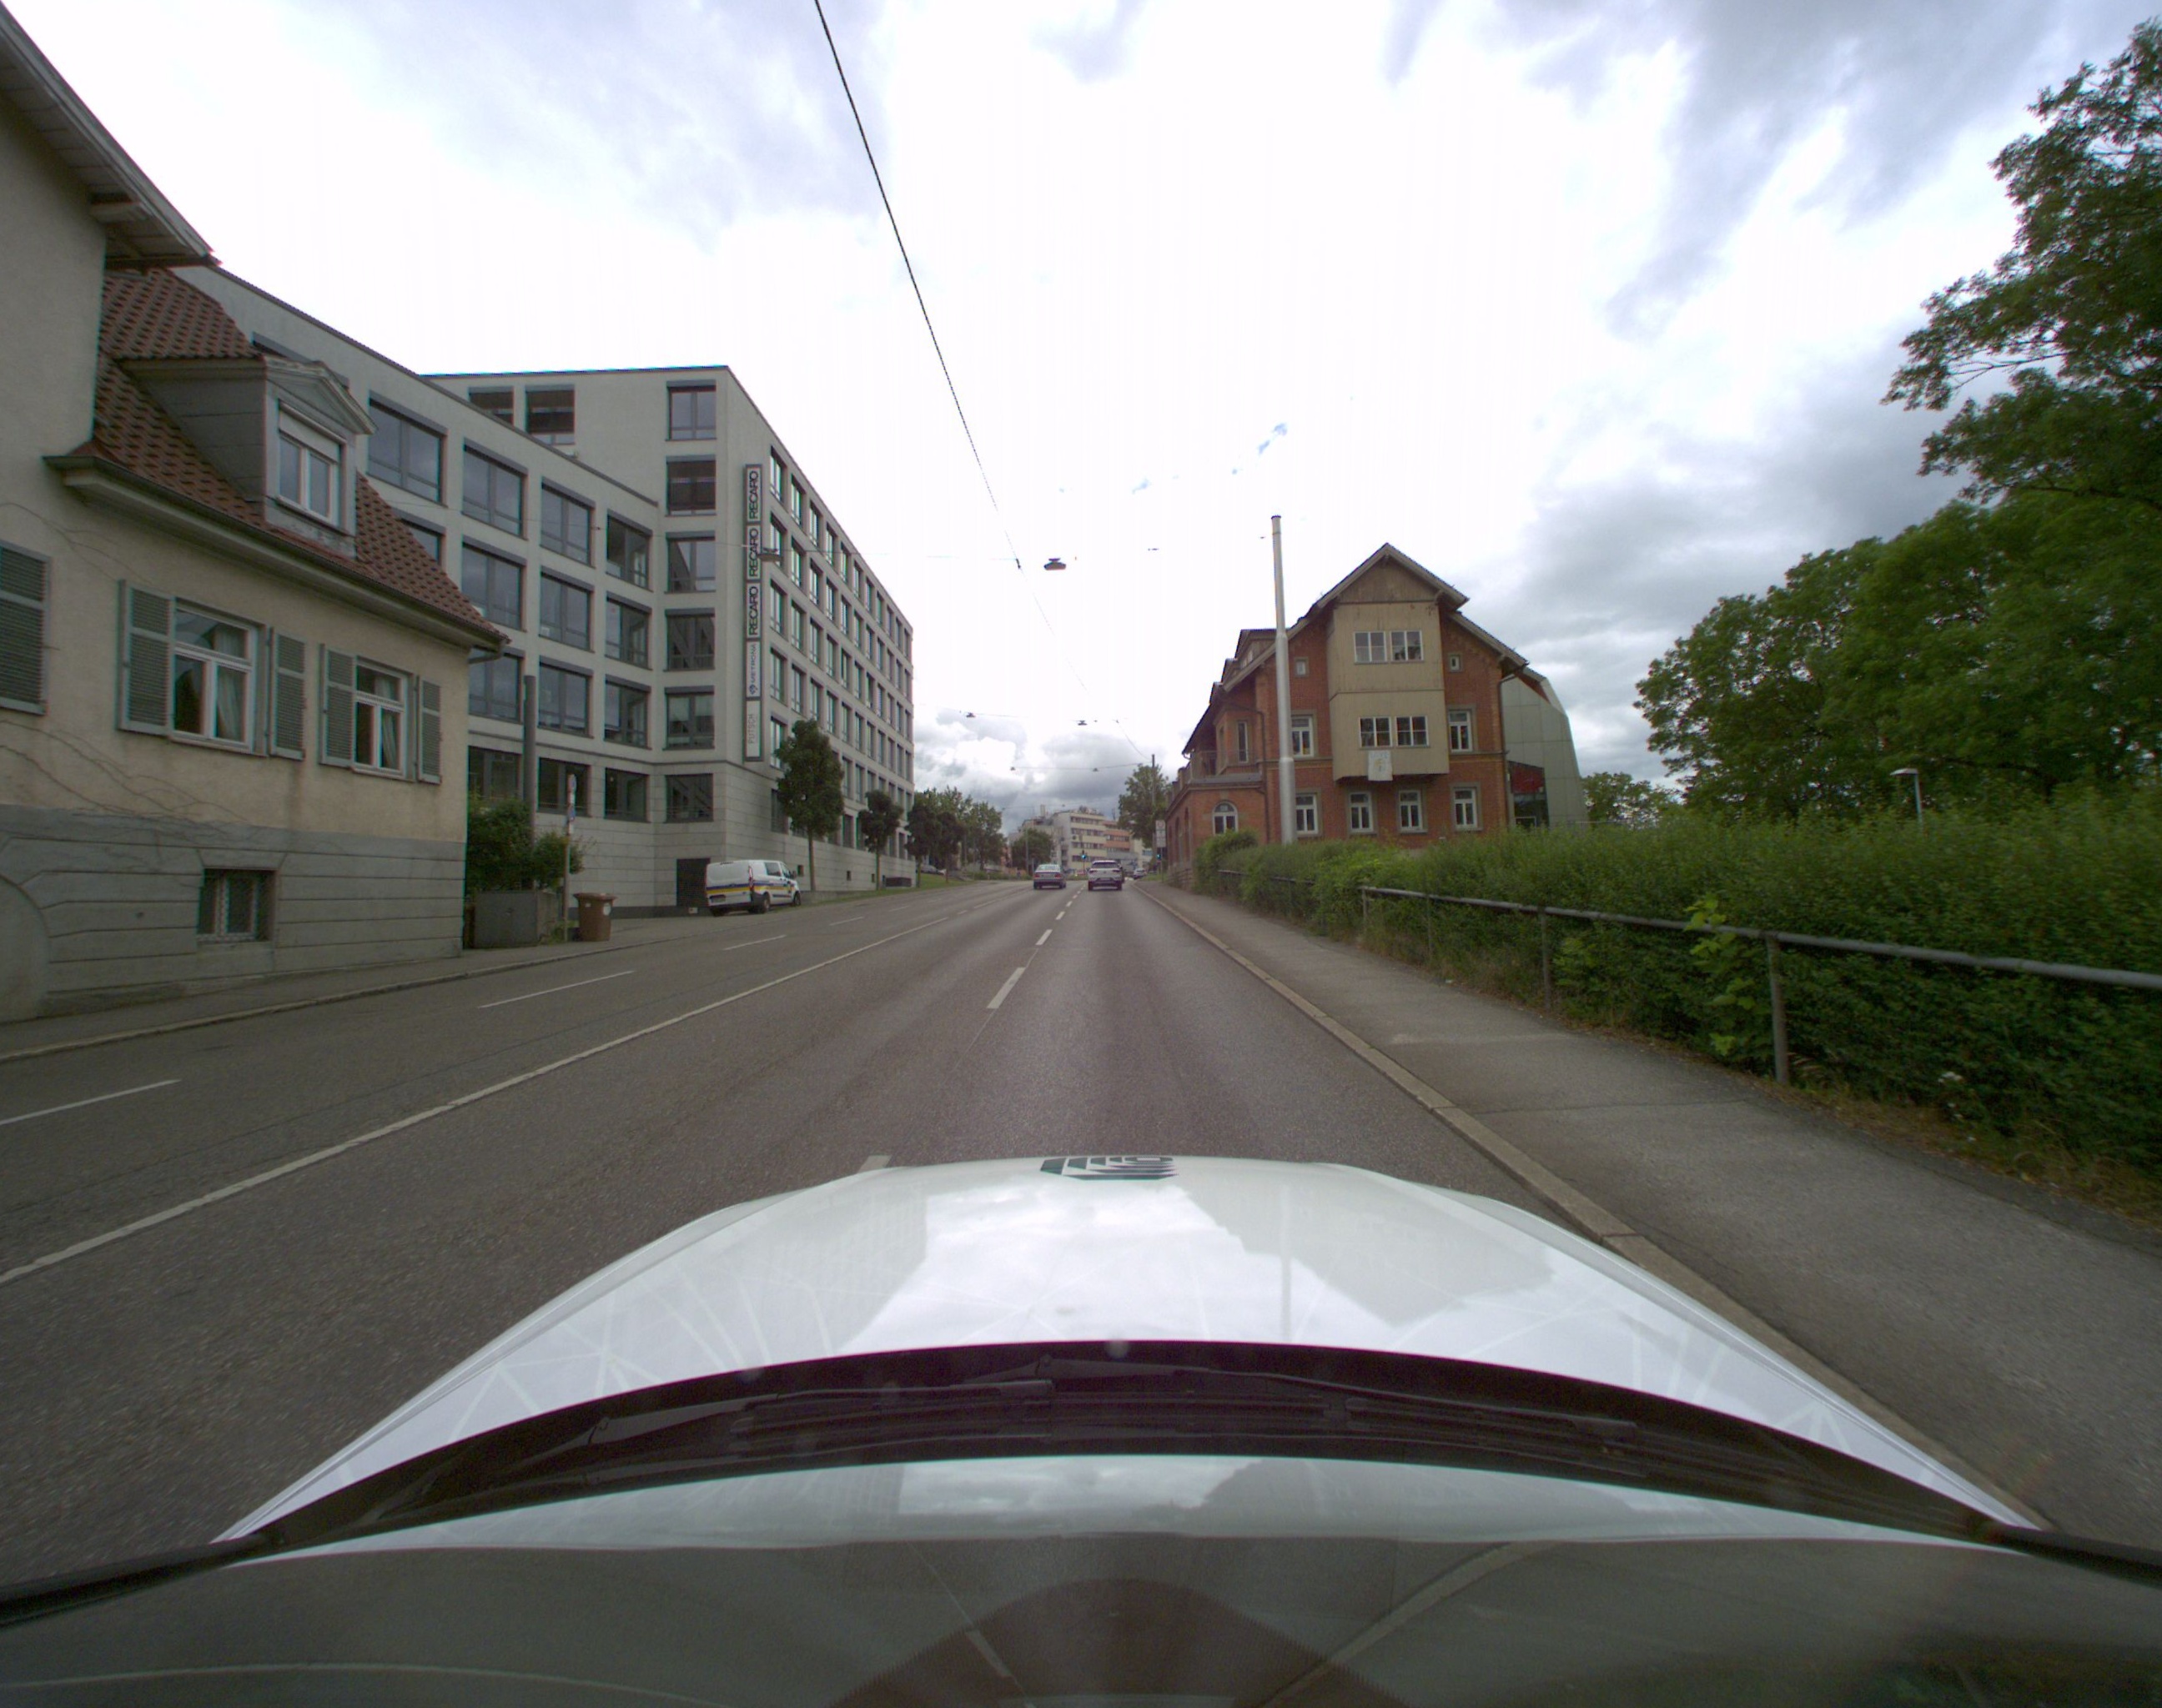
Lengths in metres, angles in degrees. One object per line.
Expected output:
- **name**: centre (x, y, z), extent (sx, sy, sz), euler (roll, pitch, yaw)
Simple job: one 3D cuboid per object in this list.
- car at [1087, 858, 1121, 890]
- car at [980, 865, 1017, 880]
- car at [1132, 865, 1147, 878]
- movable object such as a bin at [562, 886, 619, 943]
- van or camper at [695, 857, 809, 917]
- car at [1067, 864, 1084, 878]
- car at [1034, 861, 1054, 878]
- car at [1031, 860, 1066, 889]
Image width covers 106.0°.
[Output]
- **car**: centre (1.212, 1.018, 43.153), extent (1.693, 1.548, 3.737), euler (1, 0, 1)
- **car**: centre (-9.338, 2.066, 92.233), extent (4.023, 1.544, 1.759), euler (0, -2, -45)
- **car**: centre (7.562, 2.178, 104.598), extent (1.761, 1.571, 4.292), euler (-2, -1, 6)
- **movable object such as a bin**: centre (-10.817, 1.326, 17.987), extent (0.808, 1.189, 0.697), euler (2, -1, -5)
- **van or camper**: centre (-12.379, 1.175, 31.079), extent (2.052, 1.968, 4.876), euler (-4, -1, 3)
- **car**: centre (-0.729, 2.229, 107.241), extent (1.862, 1.702, 4.431), euler (-4, -1, 2)
- **car**: centre (-4.386, 1.858, 97.229), extent (1.862, 1.789, 4.655), euler (-4, -1, 2)
- **car**: centre (-1.821, 1.127, 46.303), extent (1.693, 1.516, 3.737), euler (-2, 0, 1)
